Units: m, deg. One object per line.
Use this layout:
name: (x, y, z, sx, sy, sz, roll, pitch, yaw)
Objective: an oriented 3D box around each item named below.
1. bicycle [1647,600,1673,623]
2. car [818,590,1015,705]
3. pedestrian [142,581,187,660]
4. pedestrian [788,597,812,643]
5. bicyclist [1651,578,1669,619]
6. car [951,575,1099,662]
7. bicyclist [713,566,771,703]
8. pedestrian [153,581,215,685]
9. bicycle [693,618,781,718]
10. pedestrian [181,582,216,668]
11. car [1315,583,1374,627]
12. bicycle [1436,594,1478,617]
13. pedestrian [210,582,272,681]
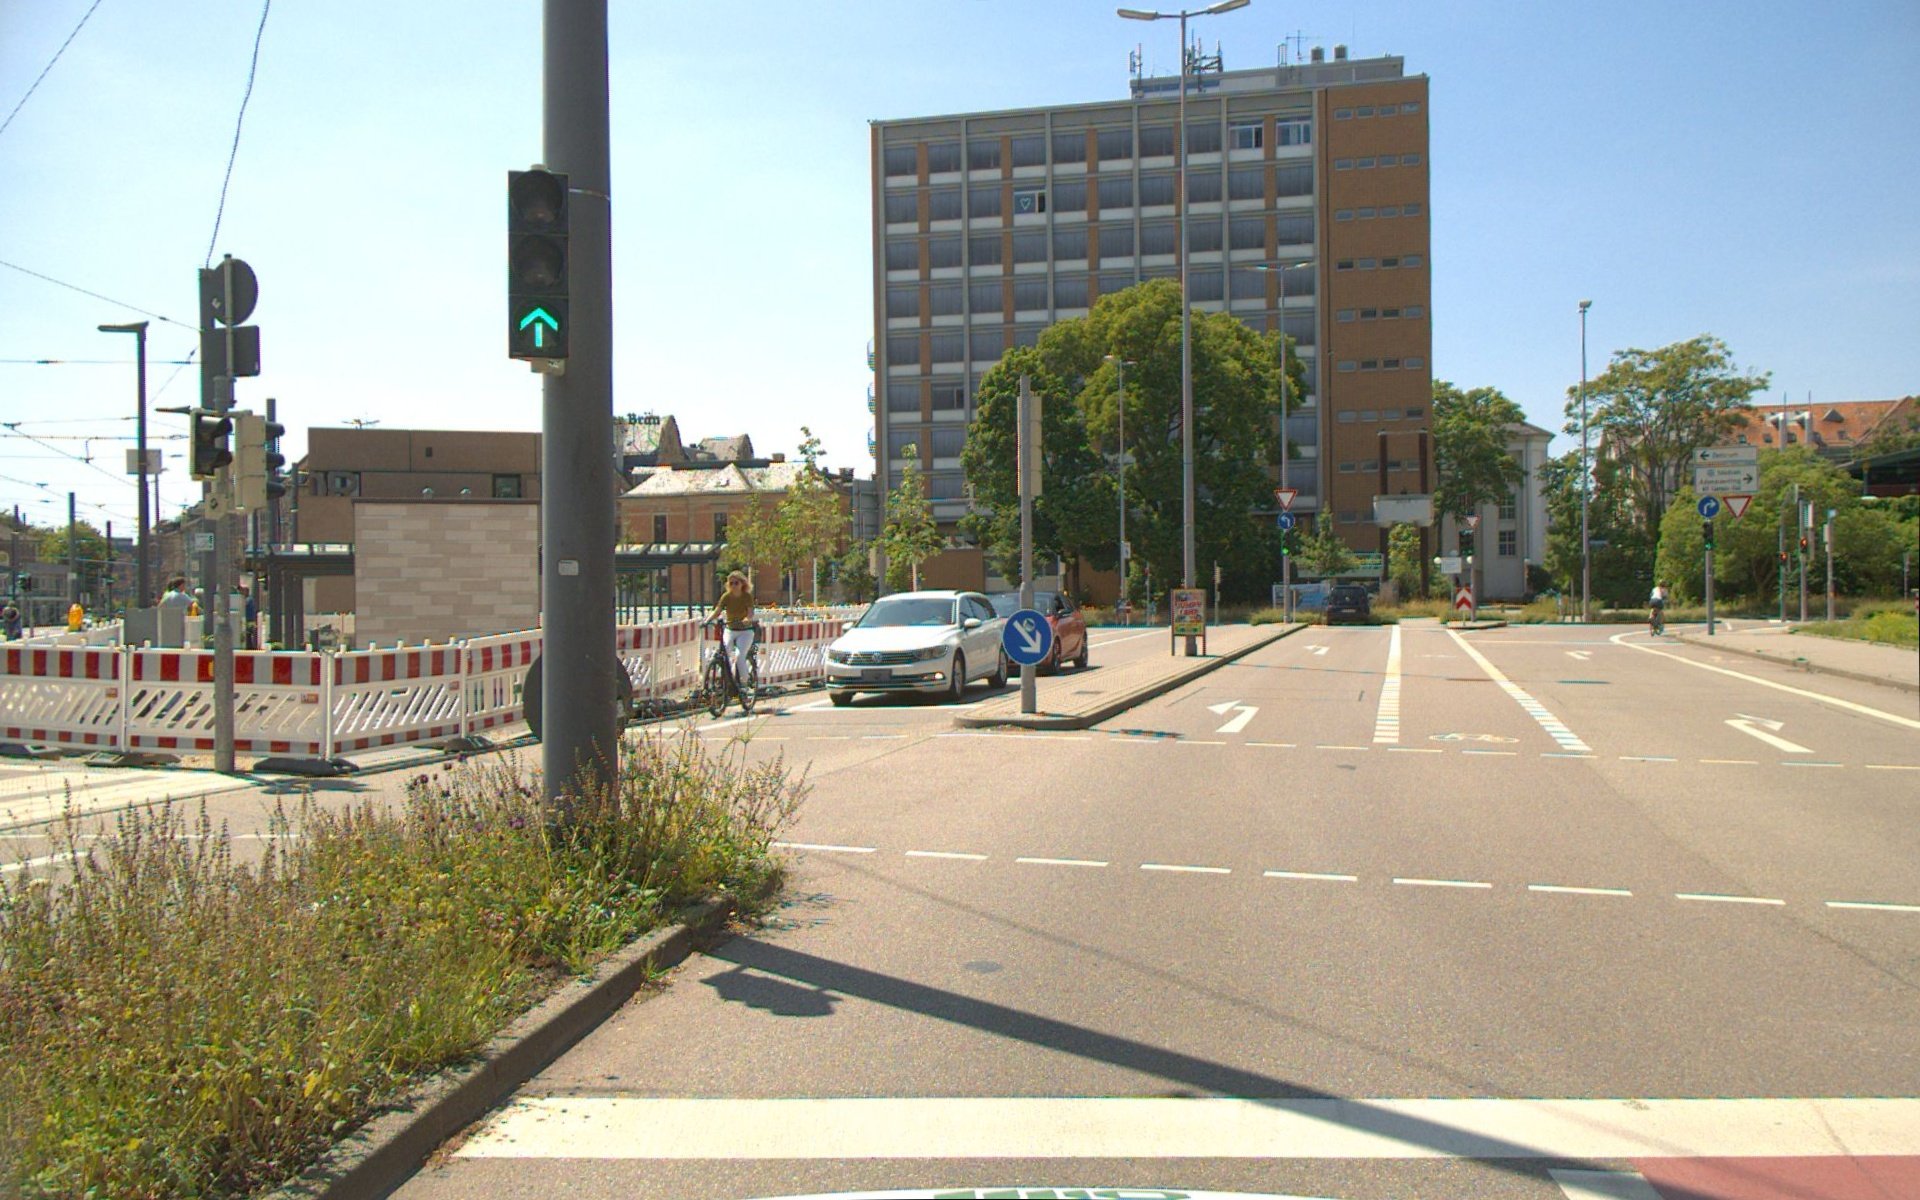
bicycle: (21.452, 0.340, 50.663, 0.371, 0.657, 1.638, -1, 0, 36)
car: (-0.494, 0.636, 23.749, 1.951, 1.463, 4.709, -1, -1, 9)
pedestrian: (-17.818, 0.460, 37.032, 0.723, 1.736, 0.731, 0, -2, -45)
pedestrian: (-7.225, 0.924, 74.729, 0.995, 2.049, 1.134, -1, -1, -1)
bicyclist: (21.482, -0.041, 50.738, 0.346, 1.249, 0.561, -1, 0, 38)
car: (1.256, 0.324, 30.226, 1.694, 1.450, 4.126, -1, -1, 17)
bicyclist: (-2.824, 0.439, 21.455, 0.555, 1.749, 0.507, 0, 0, 21)
pedestrian: (-14.368, 0.607, 30.639, 0.714, 1.897, 0.766, -1, -1, 29)
bicycle: (-2.851, 0.850, 21.280, 0.389, 1.194, 1.771, -1, 0, 18)
pedestrian: (-17.583, 0.574, 38.202, 0.710, 1.957, 1.066, 0, -1, -24)
car: (14.312, 0.211, 61.685, 1.653, 1.553, 3.692, -1, -1, 5)
bicycle: (25.713, 0.303, 85.570, 1.968, 1.155, 0.573, -1, -1, 27)
pedestrian: (-13.874, 0.594, 31.906, 0.968, 1.864, 0.626, -1, 0, -34)
